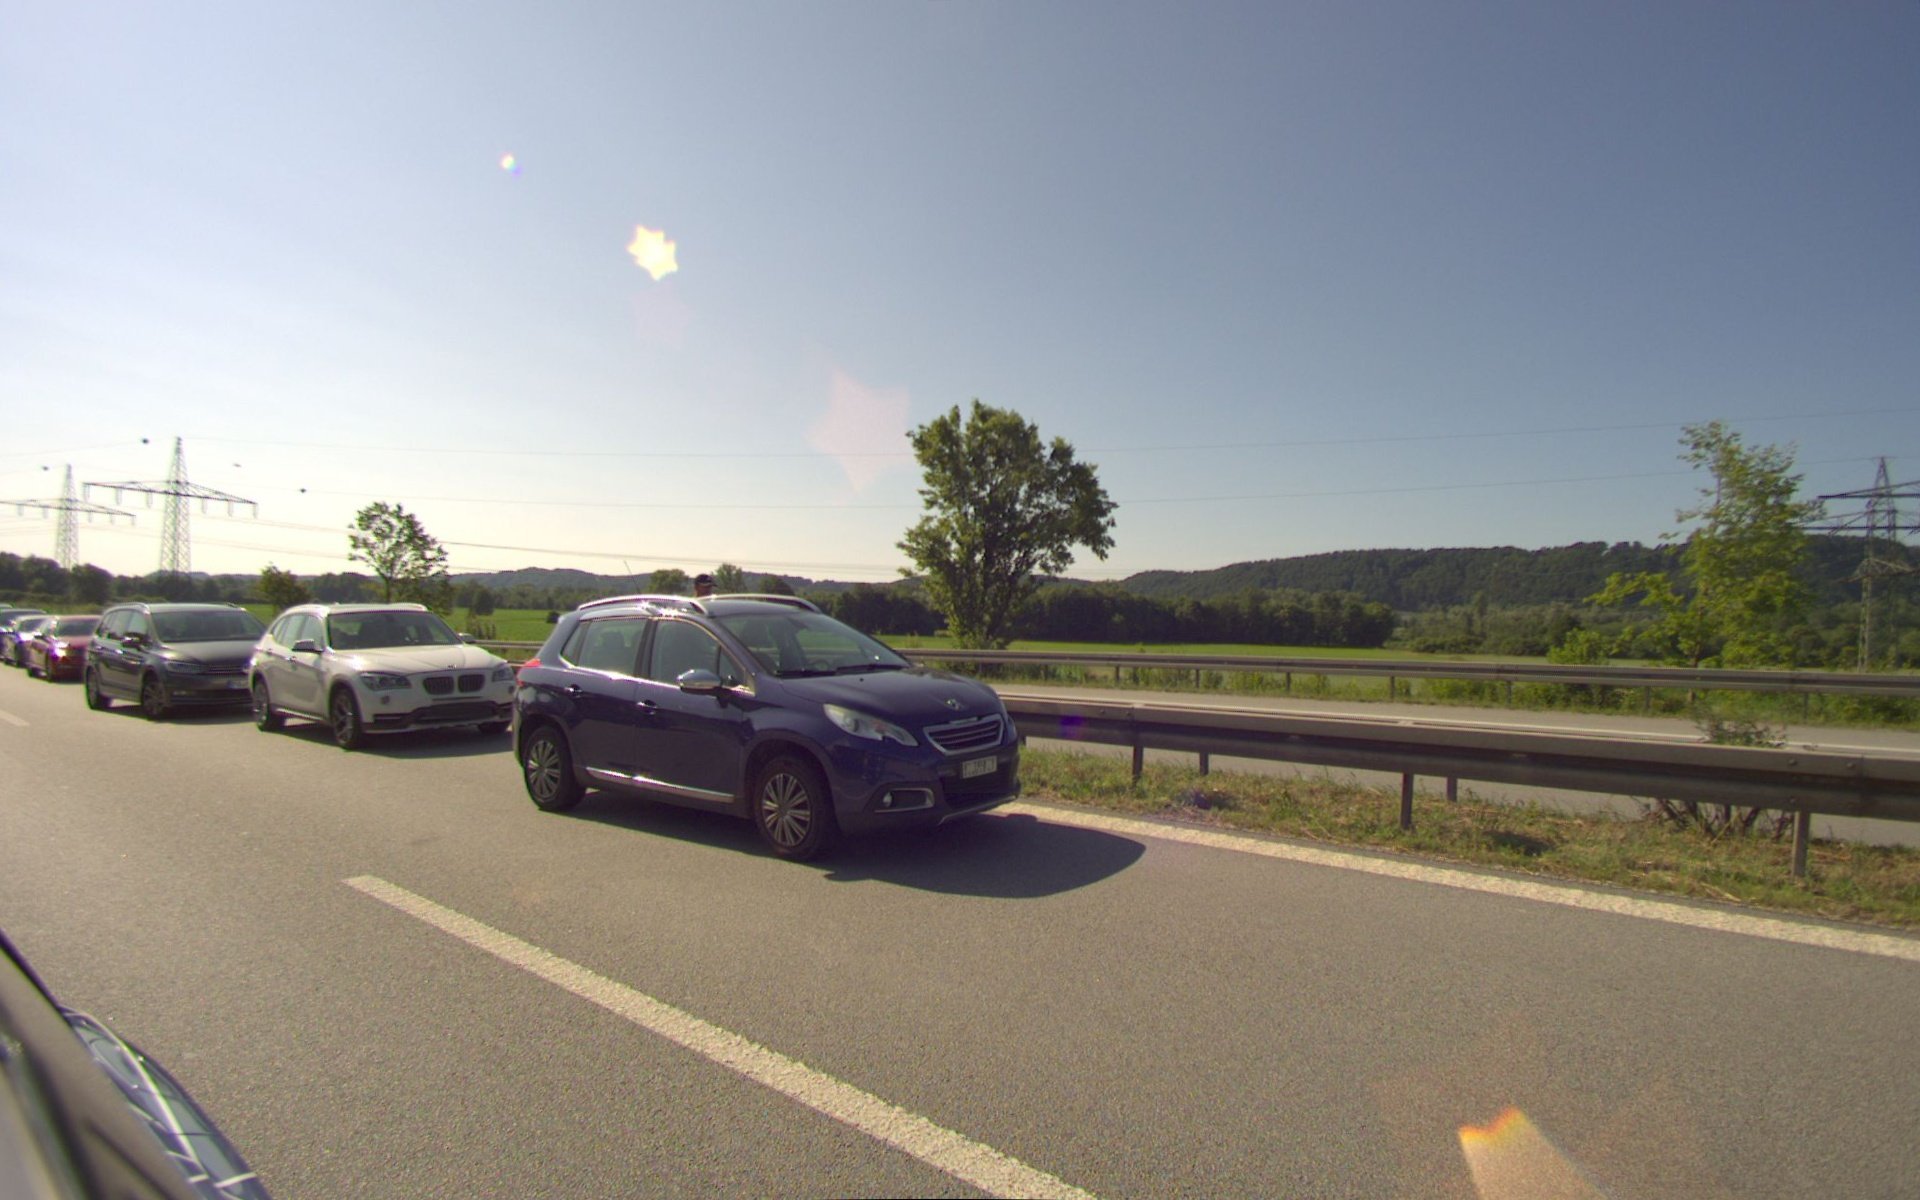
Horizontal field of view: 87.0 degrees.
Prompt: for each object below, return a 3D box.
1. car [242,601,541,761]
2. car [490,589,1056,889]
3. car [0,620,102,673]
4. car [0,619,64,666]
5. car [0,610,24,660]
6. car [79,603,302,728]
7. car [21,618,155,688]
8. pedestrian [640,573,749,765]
[{"bbox_3d":[-6.887,0.839,12.090,4.161,1.586,1.809,-1,-1,41],"label":"car"},{"bbox_3d":[-1.454,0.739,7.102,3.942,1.546,1.672,-1,0,37],"label":"car"},{"bbox_3d":[-26.571,1.302,29.341,3.996,1.409,1.871,-1,-2,39],"label":"car"},{"bbox_3d":[-31.157,1.358,33.344,3.997,1.466,1.870,-1,-2,40],"label":"car"},{"bbox_3d":[-36.505,1.288,37.653,4.195,1.801,1.878,-1,-2,39],"label":"car"},{"bbox_3d":[-11.675,0.887,15.265,4.113,1.628,1.797,-1,0,39],"label":"car"},{"bbox_3d":[-20.202,1.166,23.396,4.116,1.470,1.796,-1,-2,41],"label":"car"},{"bbox_3d":[-2.582,0.645,9.845,0.814,1.763,0.664,-1,-2,40],"label":"pedestrian"}]
